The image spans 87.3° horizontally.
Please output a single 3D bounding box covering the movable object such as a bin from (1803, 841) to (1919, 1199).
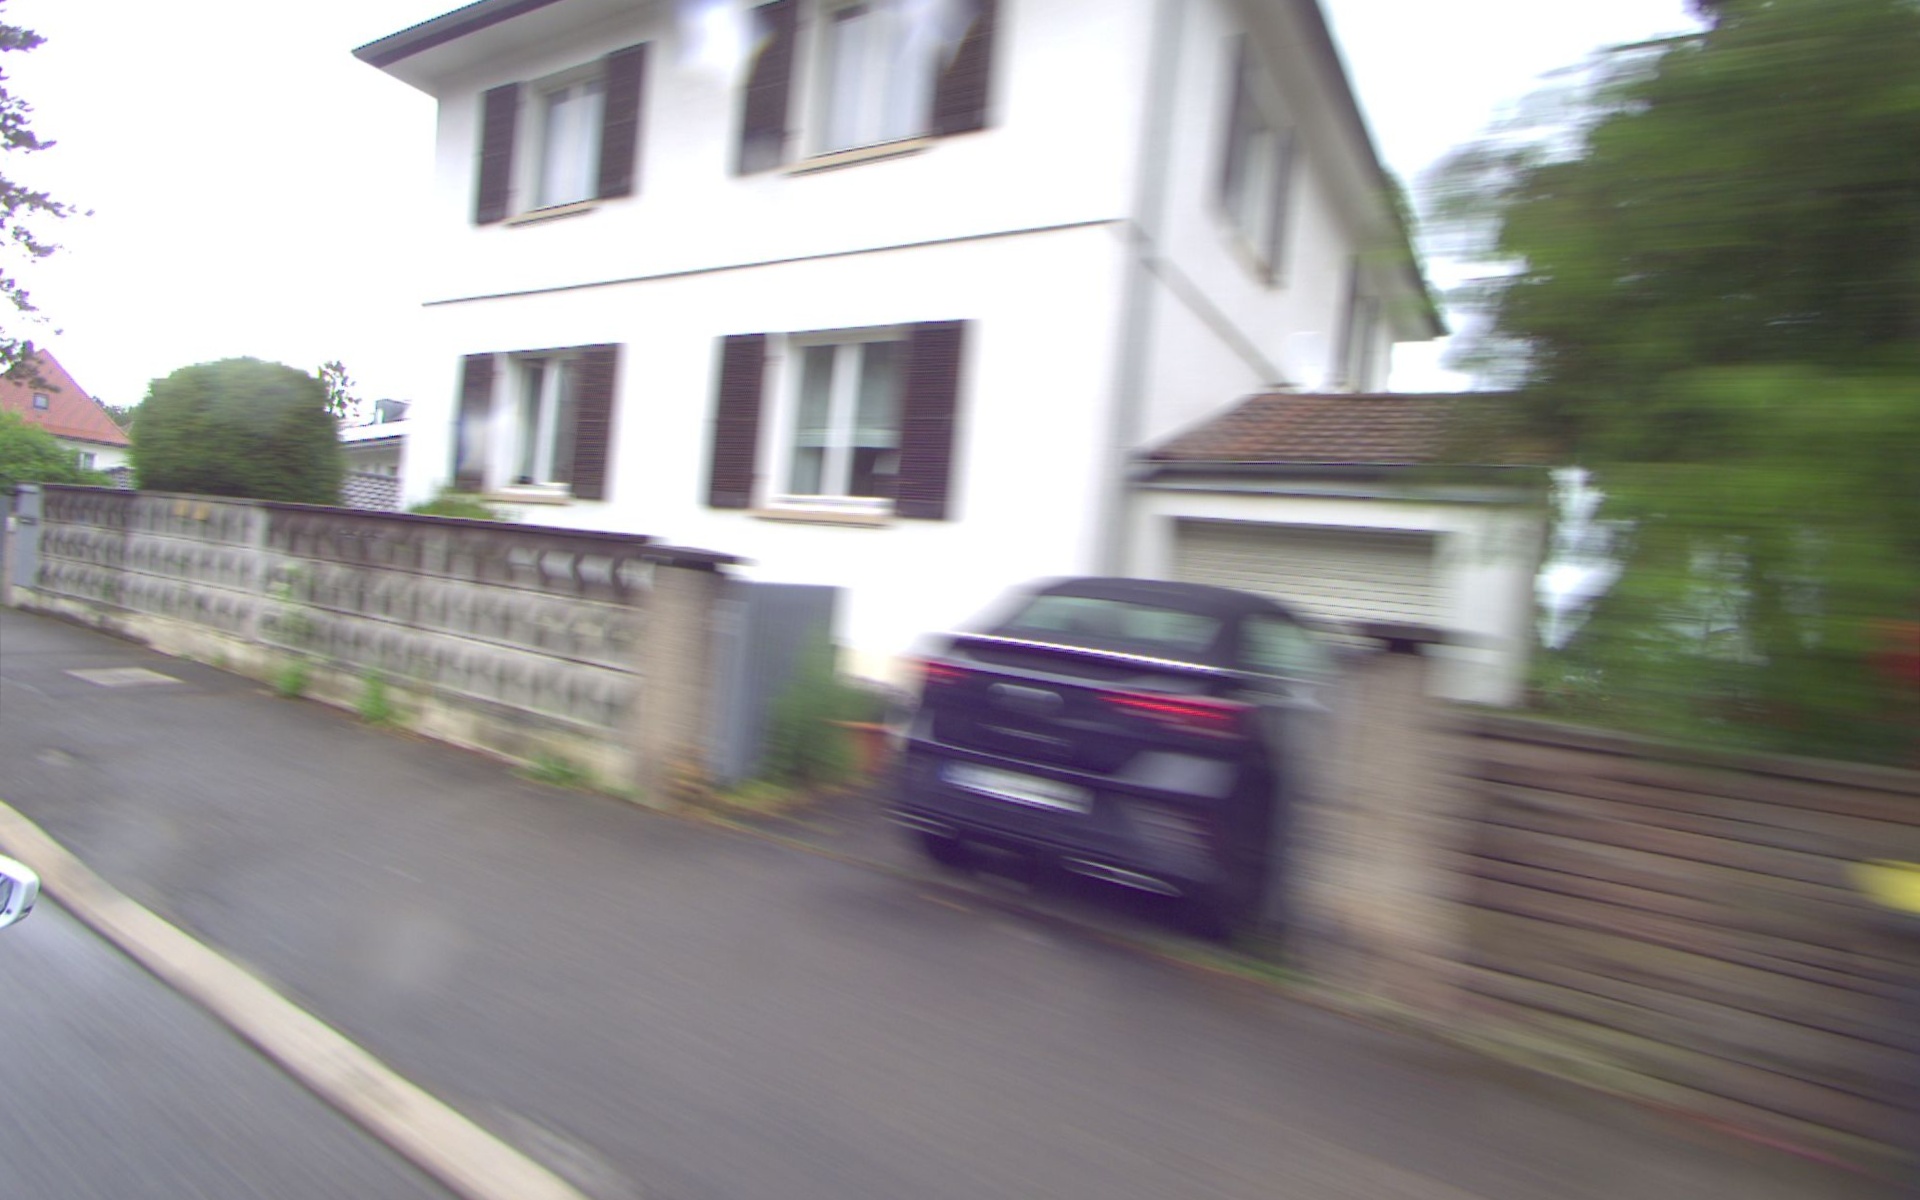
[{"bbox_3d":[2.565,1.176,2.528,0.494,0.967,0.495,8,1,30],"label":"movable object such as a bin"}]

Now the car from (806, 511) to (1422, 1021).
[{"bbox_3d":[1.239,0.707,5.716,1.886,1.659,3.993,8,0,32],"label":"car"}]
